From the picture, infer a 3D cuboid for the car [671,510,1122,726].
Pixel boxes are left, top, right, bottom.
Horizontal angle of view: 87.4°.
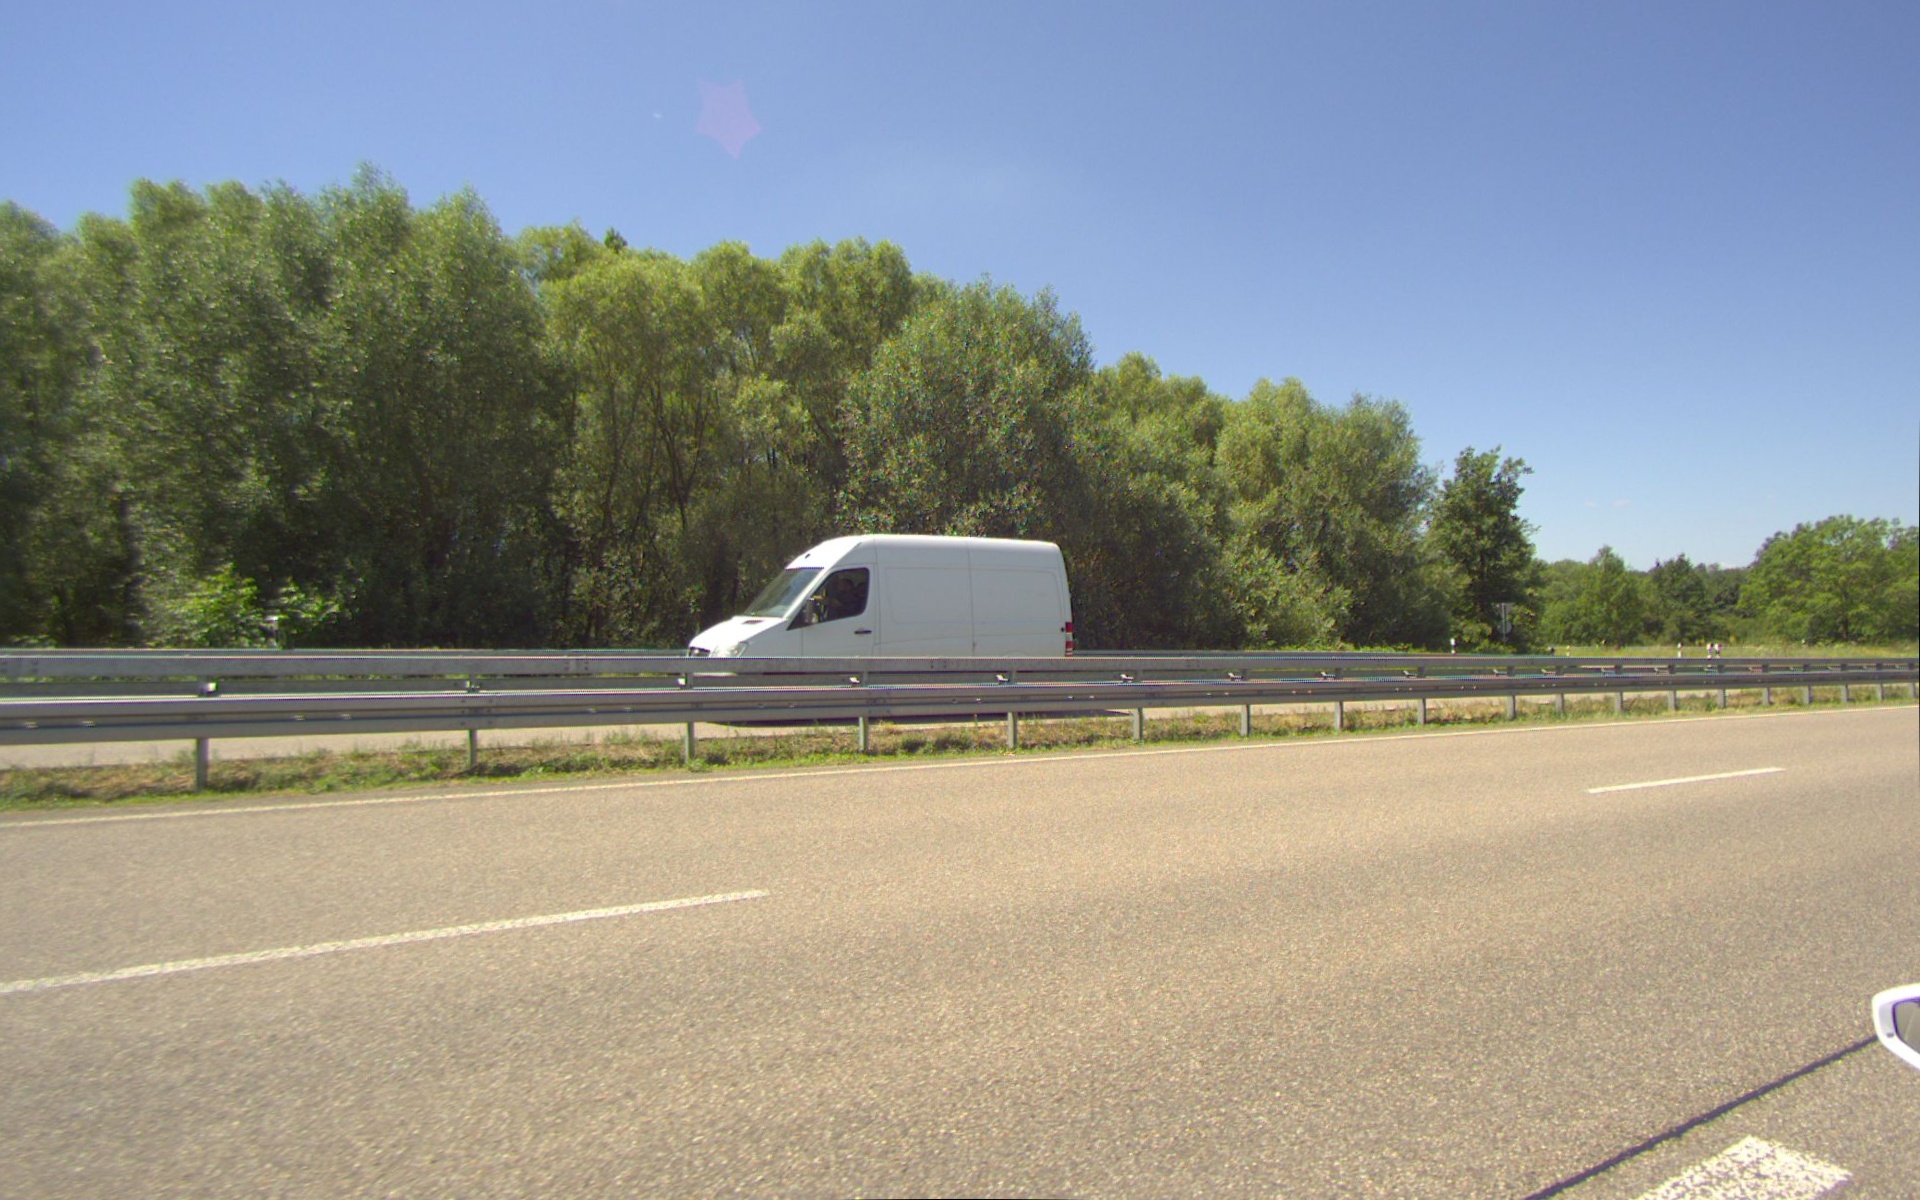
[{"bbox_3d":[-0.794,0.334,15.222,6.549,2.718,2.093,2,-1,-30],"label":"car"}]
